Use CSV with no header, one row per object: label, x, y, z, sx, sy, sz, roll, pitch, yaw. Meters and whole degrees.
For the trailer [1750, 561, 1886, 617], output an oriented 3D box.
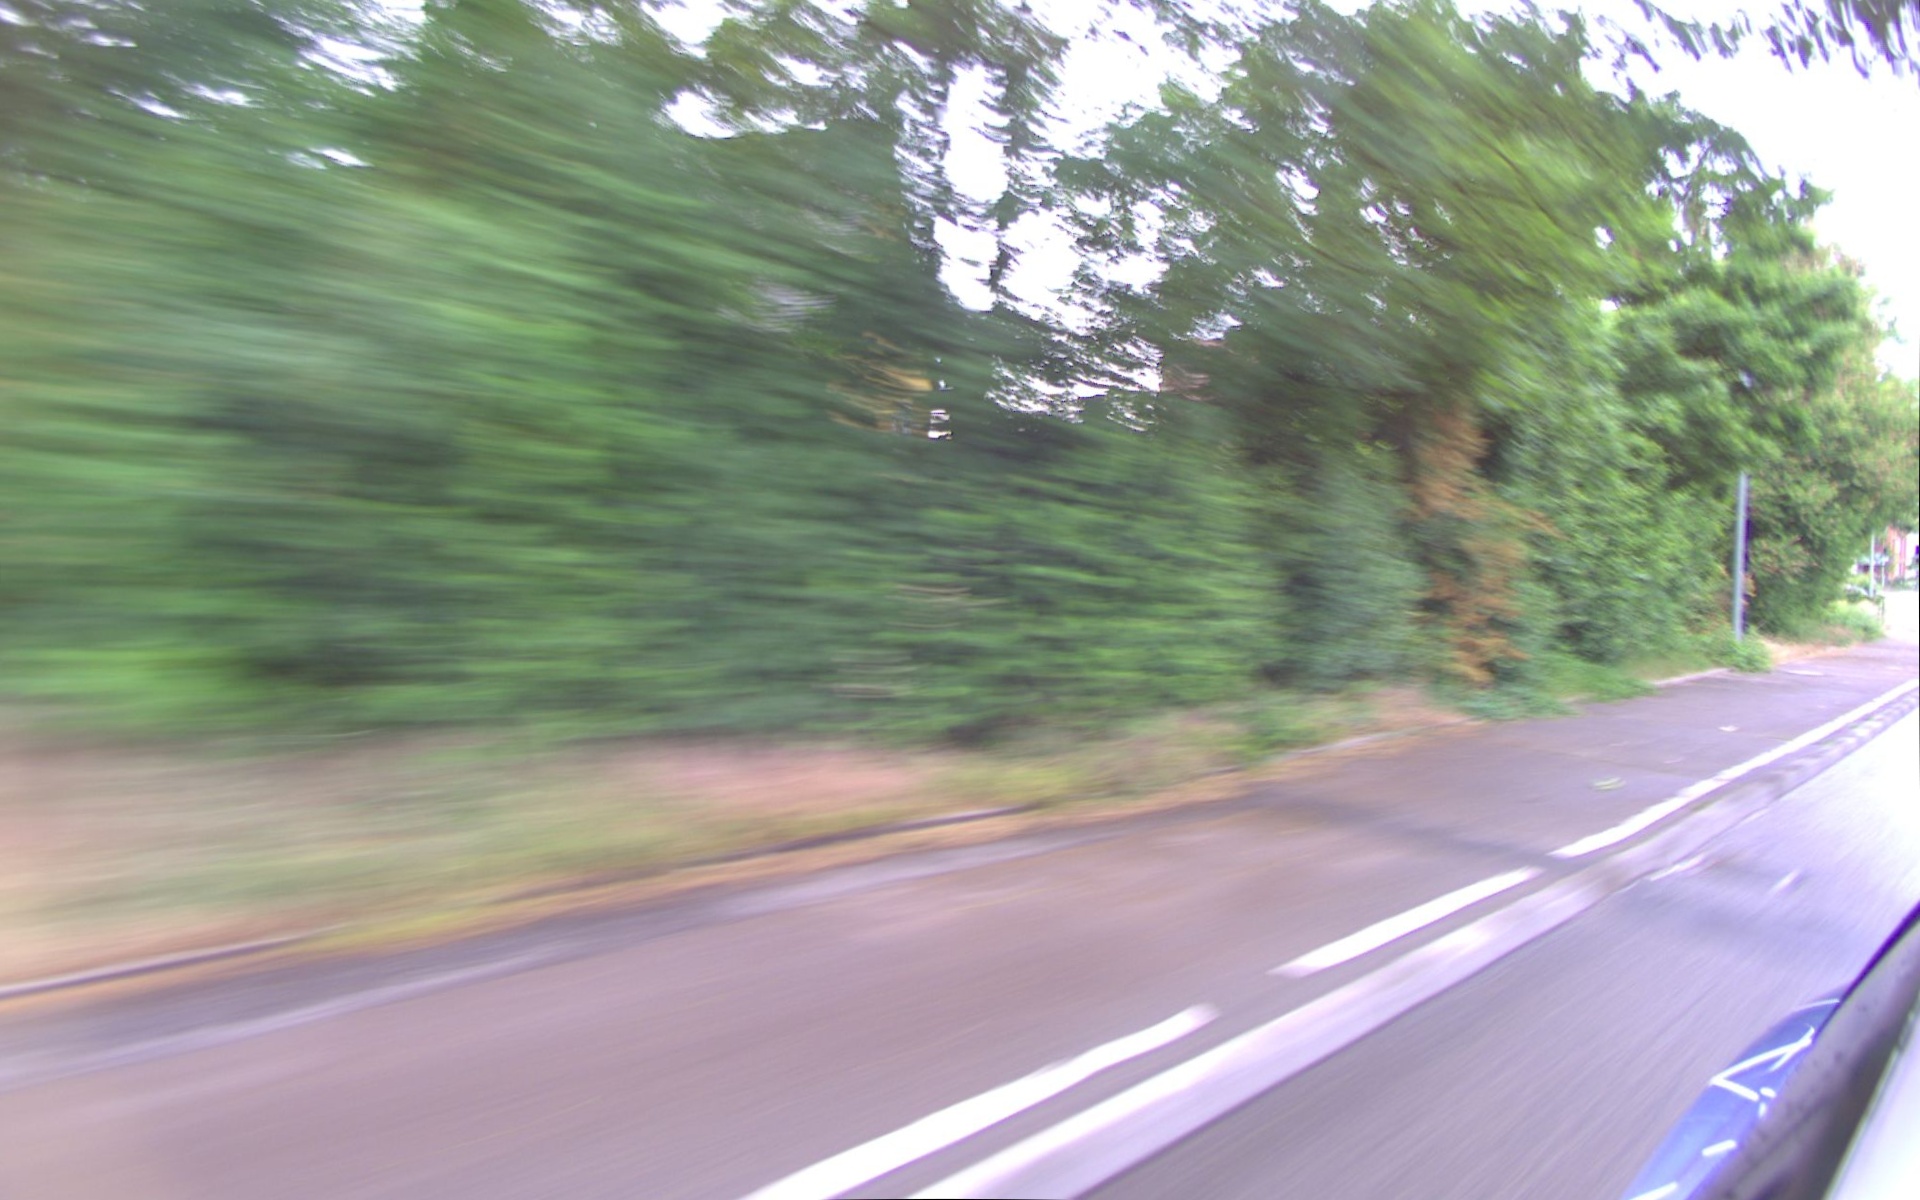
trailer,39.034,-0.555,46.223,4.520,2.430,1.925,1,2,35
